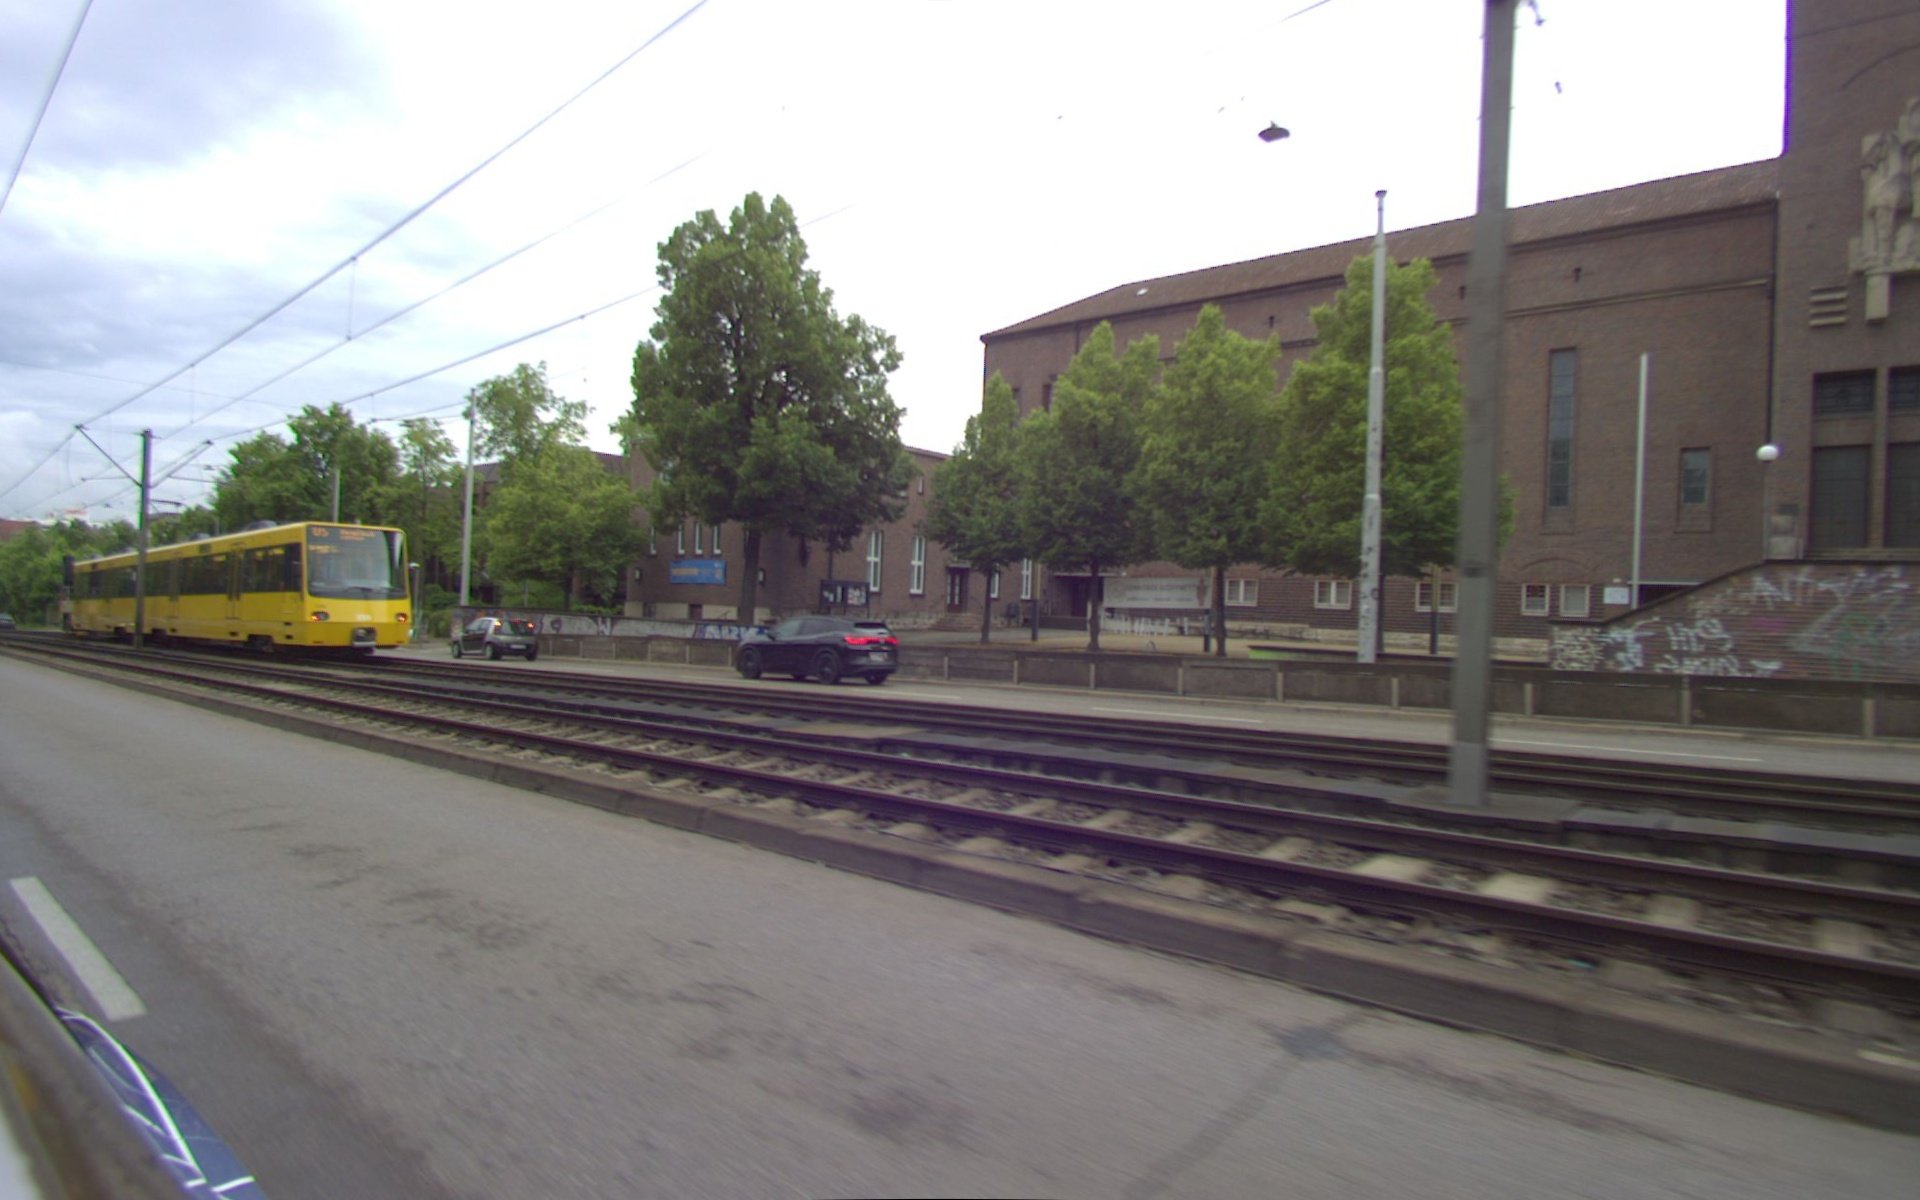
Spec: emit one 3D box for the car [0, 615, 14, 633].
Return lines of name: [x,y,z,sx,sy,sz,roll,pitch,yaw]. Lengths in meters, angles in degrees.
car: [-88.950,2.197,93.552,4.337,1.650,1.670,-1,-2,40]

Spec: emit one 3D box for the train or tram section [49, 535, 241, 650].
train or tram section: [-35.092,-0.158,42.929,20.017,4.006,2.799,-1,-2,41]

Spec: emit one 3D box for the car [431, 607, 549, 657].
car: [-16.567,1.115,35.595,4.407,1.656,1.974,0,-3,39]

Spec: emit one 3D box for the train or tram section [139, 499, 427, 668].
train or tram section: [-21.344,-0.303,30.881,17.868,4.006,2.798,-1,-2,41]

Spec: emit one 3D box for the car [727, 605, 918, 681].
car: [-3.374,0.997,24.394,4.520,1.656,1.974,0,-3,39]
